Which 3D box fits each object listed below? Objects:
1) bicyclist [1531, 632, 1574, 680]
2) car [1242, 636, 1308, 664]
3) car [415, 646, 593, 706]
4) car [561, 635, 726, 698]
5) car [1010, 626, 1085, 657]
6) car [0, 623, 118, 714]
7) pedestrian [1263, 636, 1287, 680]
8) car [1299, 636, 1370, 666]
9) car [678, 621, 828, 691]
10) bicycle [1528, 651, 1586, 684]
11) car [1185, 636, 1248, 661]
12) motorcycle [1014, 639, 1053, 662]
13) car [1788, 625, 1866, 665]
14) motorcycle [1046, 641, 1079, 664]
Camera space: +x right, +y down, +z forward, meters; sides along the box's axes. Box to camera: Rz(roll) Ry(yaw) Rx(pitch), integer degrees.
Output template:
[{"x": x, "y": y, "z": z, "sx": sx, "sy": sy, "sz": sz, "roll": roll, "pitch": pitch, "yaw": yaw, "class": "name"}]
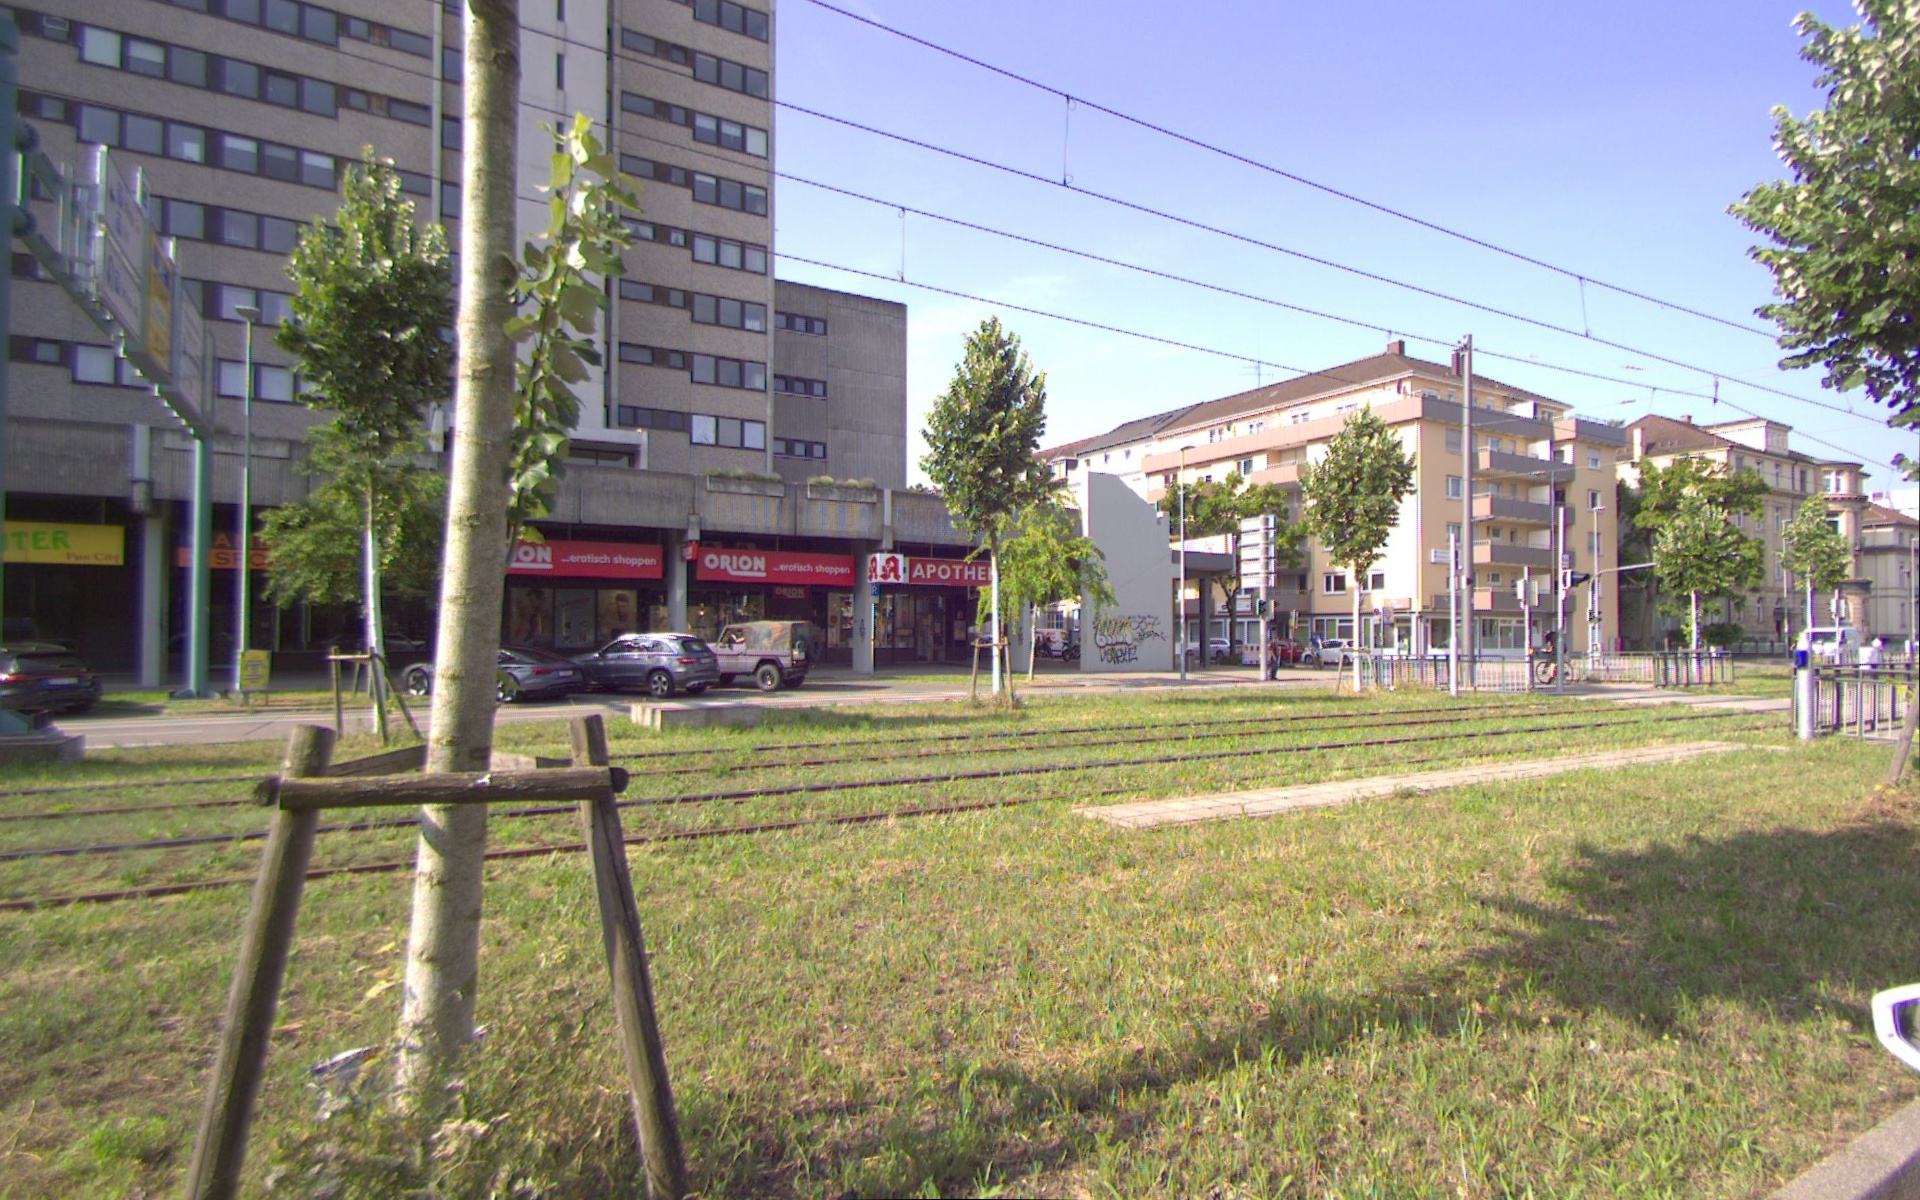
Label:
[{"x": 17.841, "y": 1.692, "z": 30.279, "sx": 0.536, "sy": 1.413, "sz": 0.972, "roll": -1, "pitch": -4, "yaw": -10, "class": "bicyclist"}, {"x": 19.817, "y": 3.107, "z": 63.336, "sx": 1.756, "sy": 1.711, "sz": 3.765, "roll": 1, "pitch": -2, "yaw": -33, "class": "car"}, {"x": -11.730, "y": 1.912, "z": 25.879, "sx": 4.030, "sy": 1.261, "sz": 1.879, "roll": 1, "pitch": 0, "yaw": 20, "class": "car"}, {"x": -8.719, "y": 1.794, "z": 27.745, "sx": 4.031, "sy": 1.627, "sz": 1.880, "roll": -1, "pitch": -2, "yaw": 20, "class": "car"}, {"x": 5.918, "y": 2.808, "z": 67.505, "sx": 4.778, "sy": 1.994, "sz": 1.984, "roll": 2, "pitch": -3, "yaw": -31, "class": "car"}, {"x": -19.887, "y": 1.332, "z": 20.586, "sx": 3.919, "sy": 1.604, "sz": 2.103, "roll": 1, "pitch": 1, "yaw": 13, "class": "car"}, {"x": 12.440, "y": 2.284, "z": 39.642, "sx": 0.637, "sy": 1.712, "sz": 0.656, "roll": 1, "pitch": -2, "yaw": -28, "class": "pedestrian"}, {"x": 22.113, "y": 2.987, "z": 59.434, "sx": 1.691, "sy": 1.604, "sz": 3.601, "roll": -2, "pitch": -1, "yaw": -34, "class": "car"}, {"x": -6.207, "y": 1.634, "z": 30.234, "sx": 4.031, "sy": 1.994, "sz": 1.879, "roll": -1, "pitch": -2, "yaw": 20, "class": "car"}, {"x": 17.880, "y": 2.021, "z": 30.115, "sx": 0.547, "sy": 0.947, "sz": 1.611, "roll": -1, "pitch": -4, "yaw": -10, "class": "bicycle"}, {"x": 17.205, "y": 3.247, "z": 67.538, "sx": 1.797, "sy": 1.625, "sz": 3.916, "roll": 1, "pitch": -2, "yaw": -34, "class": "car"}, {"x": 4.146, "y": 2.815, "z": 56.552, "sx": 2.116, "sy": 1.269, "sz": 0.820, "roll": 1, "pitch": -2, "yaw": -30, "class": "motorcycle"}, {"x": 51.019, "y": 2.608, "z": 59.090, "sx": 5.275, "sy": 2.268, "sz": 2.035, "roll": 1, "pitch": -2, "yaw": -32, "class": "car"}, {"x": 5.397, "y": 2.762, "z": 52.763, "sx": 1.658, "sy": 1.180, "sz": 0.626, "roll": 1, "pitch": -2, "yaw": -30, "class": "motorcycle"}]
